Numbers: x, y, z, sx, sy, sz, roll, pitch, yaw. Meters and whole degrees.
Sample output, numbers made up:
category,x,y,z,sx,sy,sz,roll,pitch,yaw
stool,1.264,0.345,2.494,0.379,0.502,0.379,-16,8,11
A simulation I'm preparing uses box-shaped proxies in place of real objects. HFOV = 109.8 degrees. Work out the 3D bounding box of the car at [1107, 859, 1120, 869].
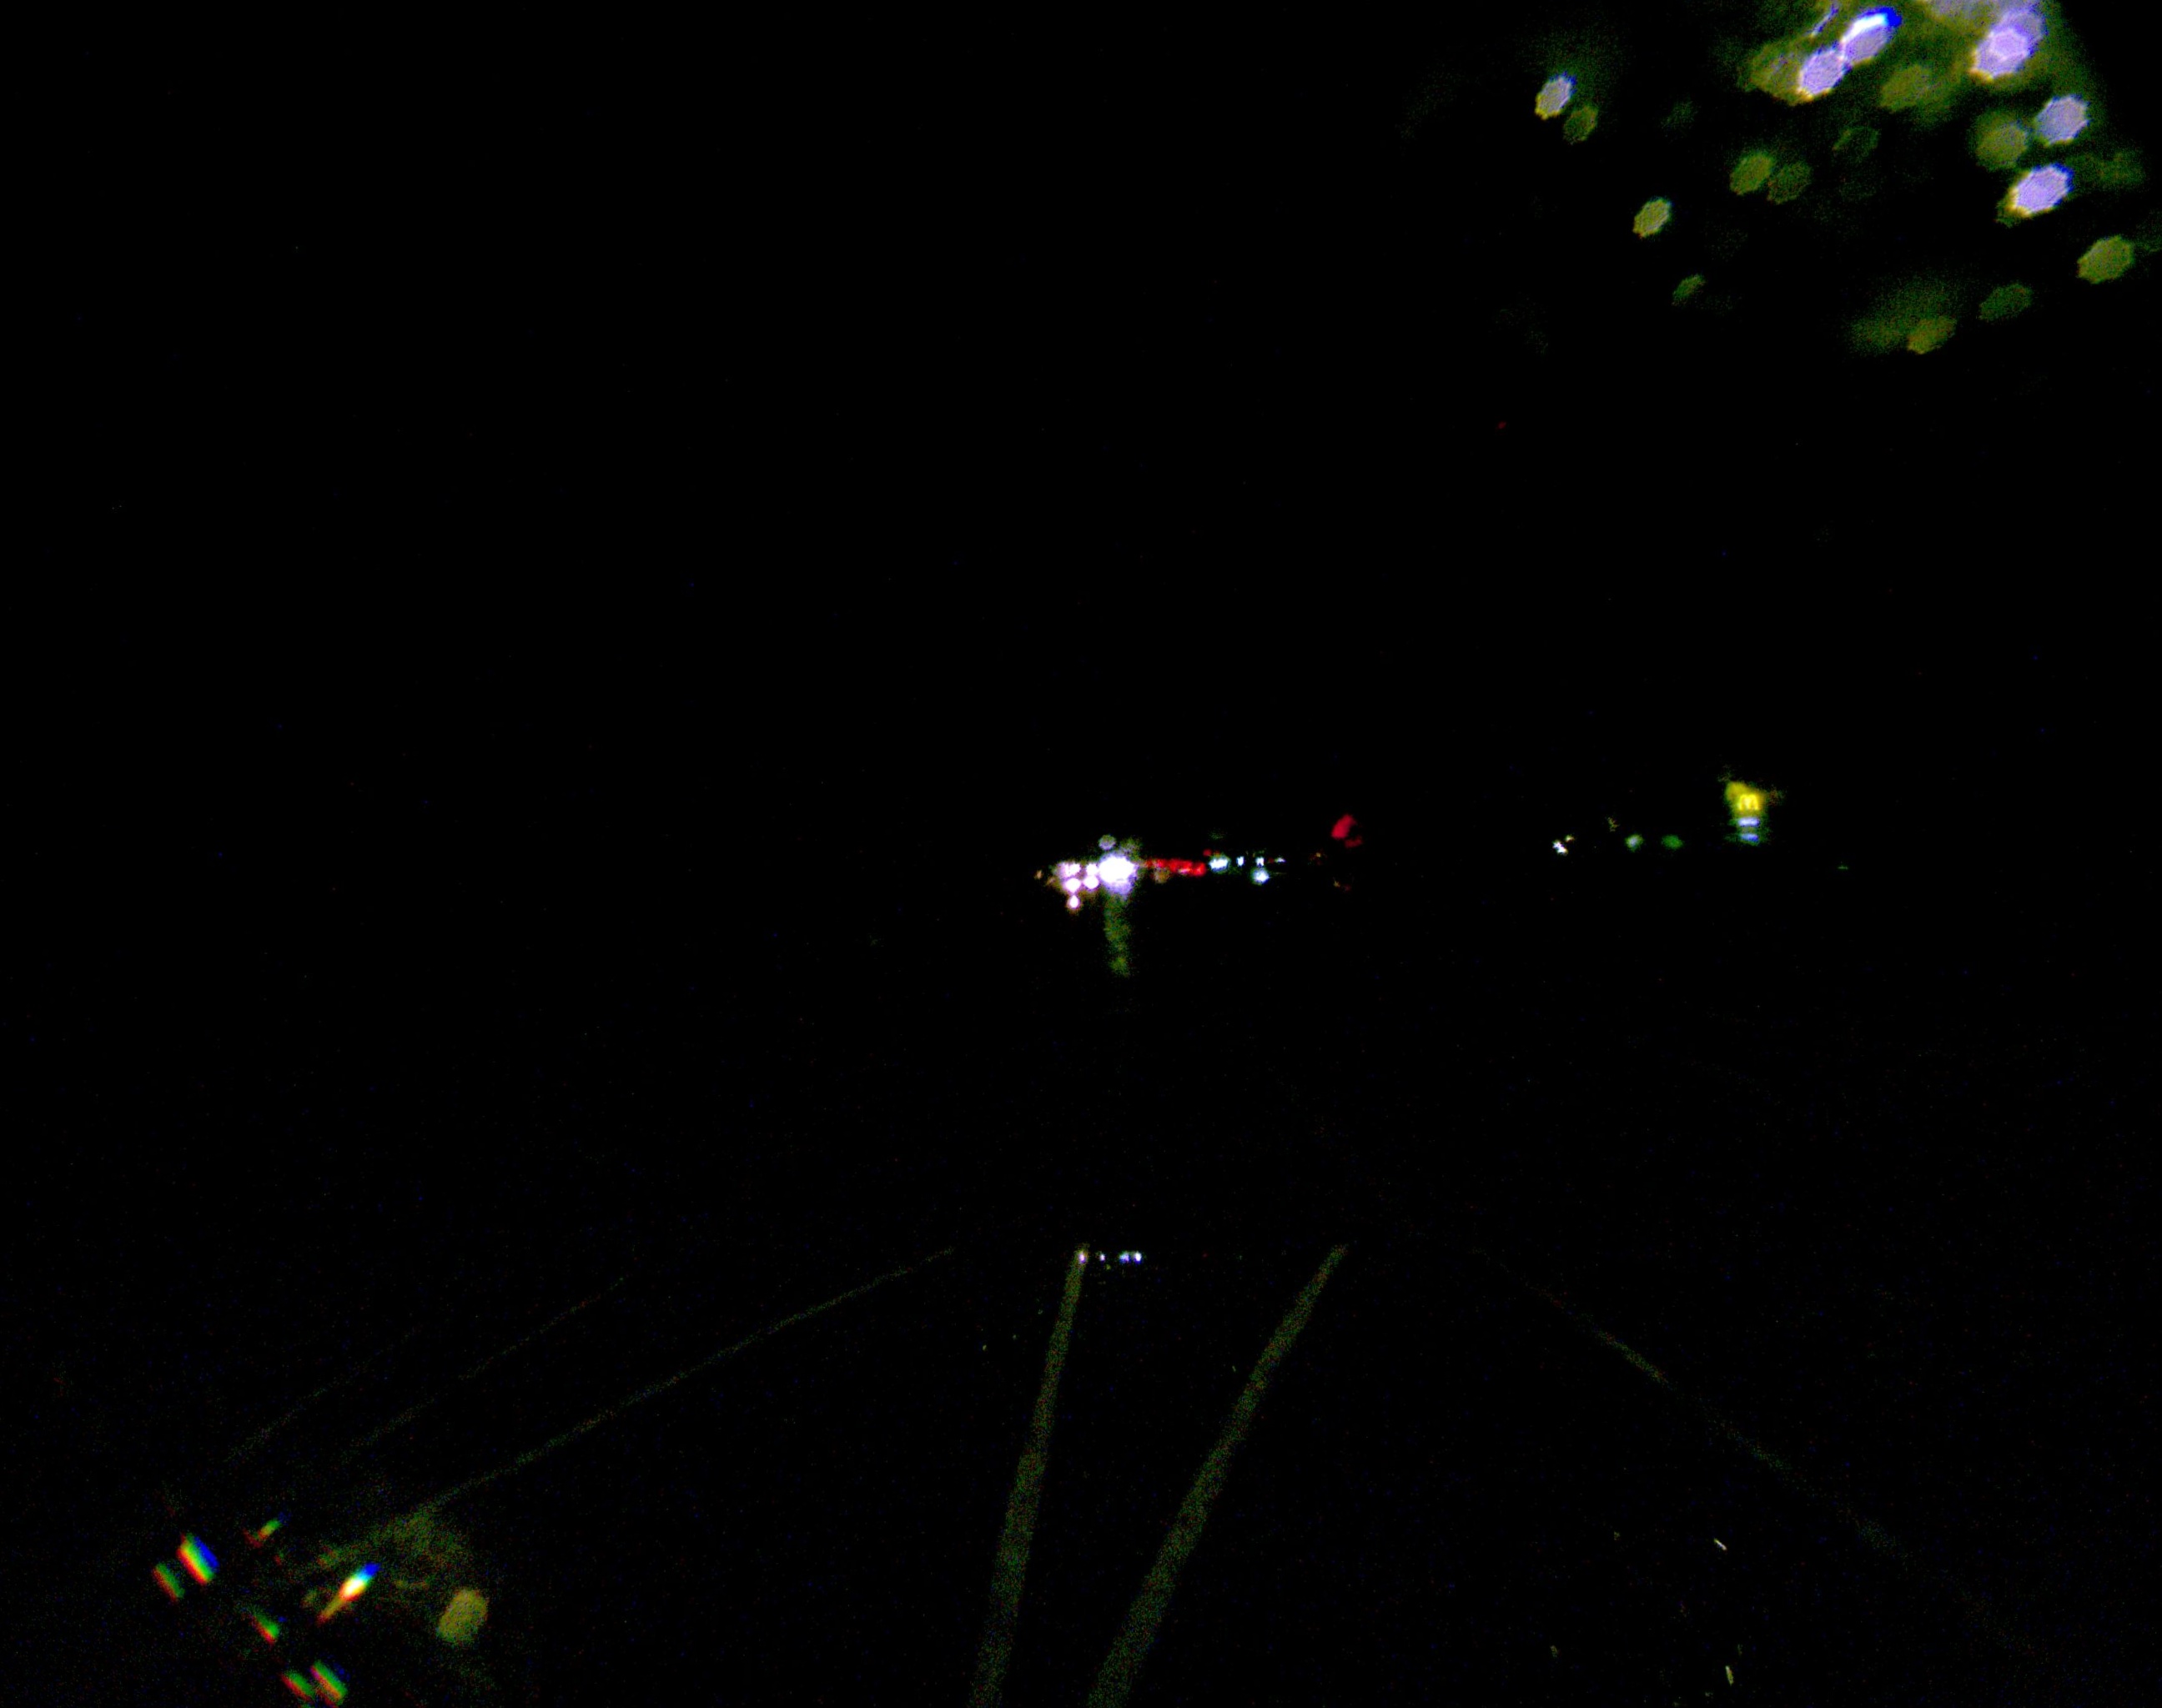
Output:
category,x,y,z,sx,sy,sz,roll,pitch,yaw
car,5.323,1.596,123.275,1.807,1.416,4.206,-1,1,5

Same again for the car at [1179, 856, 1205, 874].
category,x,y,z,sx,sy,sz,roll,pitch,yaw
car,11.675,1.139,80.245,2.094,1.691,4.577,-1,1,0

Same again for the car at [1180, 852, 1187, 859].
category,x,y,z,sx,sy,sz,roll,pitch,yaw
car,30.240,0.512,223.954,1.997,2.002,4.002,-1,1,9

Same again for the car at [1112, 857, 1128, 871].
category,x,y,z,sx,sy,sz,roll,pitch,yaw
car,5.194,1.256,99.740,1.913,1.694,4.941,-1,0,5

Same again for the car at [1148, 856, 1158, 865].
category,x,y,z,sx,sy,sz,roll,pitch,yaw
car,13.724,1.206,144.751,1.807,1.416,4.207,-1,1,8

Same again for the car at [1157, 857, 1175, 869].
category,x,y,z,sx,sy,sz,roll,pitch,yaw
car,11.134,1.163,99.847,1.808,1.416,4.204,-1,1,0

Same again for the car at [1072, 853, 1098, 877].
category,x,y,z,sx,sy,sz,roll,pitch,yaw
car,0.371,0.841,61.682,1.877,1.825,4.206,-1,0,2
